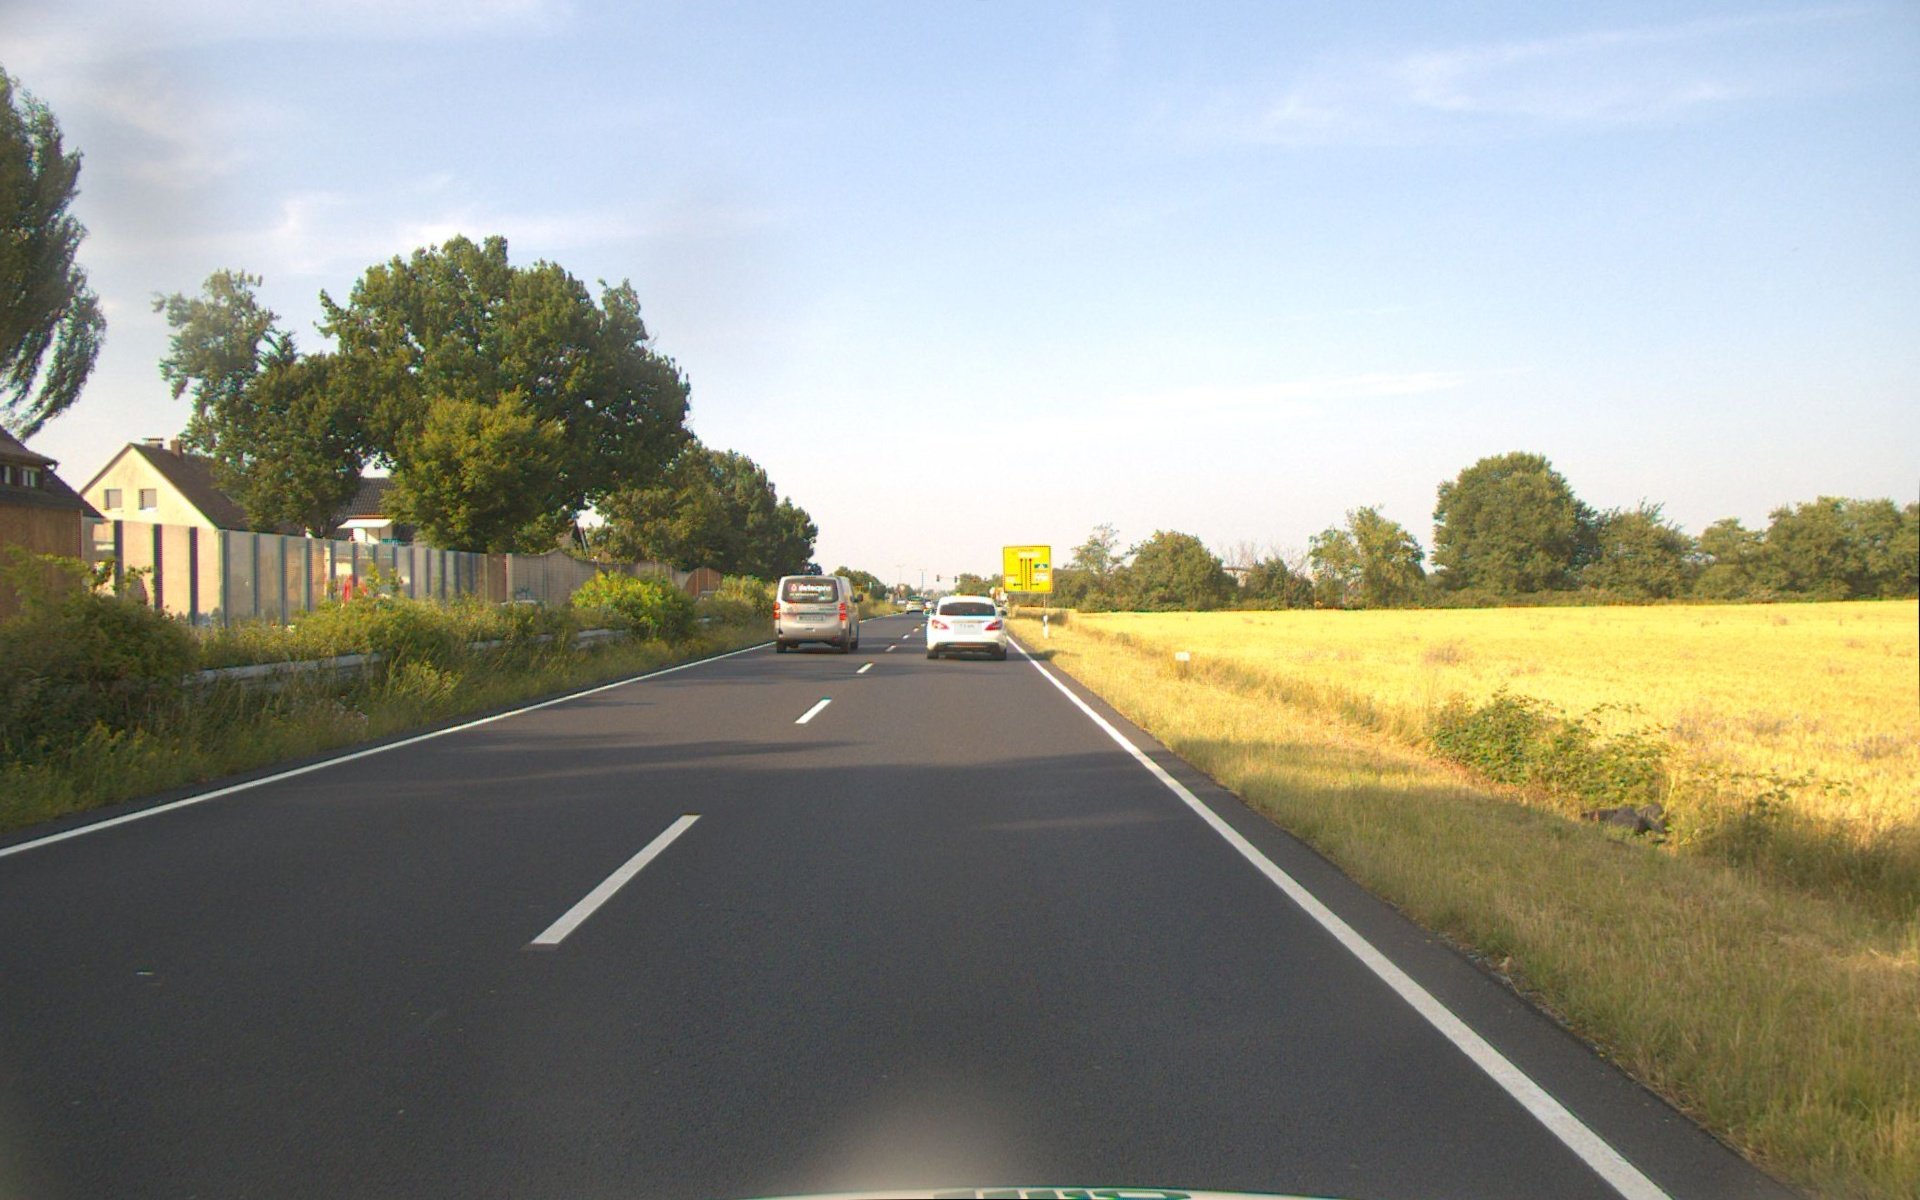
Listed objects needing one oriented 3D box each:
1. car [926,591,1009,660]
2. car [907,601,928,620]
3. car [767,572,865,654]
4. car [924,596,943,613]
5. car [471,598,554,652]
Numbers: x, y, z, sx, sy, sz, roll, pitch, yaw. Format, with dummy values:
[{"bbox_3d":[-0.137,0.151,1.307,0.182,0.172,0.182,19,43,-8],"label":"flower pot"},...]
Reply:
[{"bbox_3d":[0.154,0.581,38.846,1.856,1.535,3.999,0,0,-1],"label":"car"},{"bbox_3d":[-3.621,0.881,140.819,1.682,1.518,3.584,1,0,0],"label":"car"},{"bbox_3d":[-3.580,0.309,42.006,1.984,1.925,4.958,1,0,0],"label":"car"},{"bbox_3d":[-2.728,0.460,169.435,1.839,1.680,3.663,1,0,-2],"label":"car"},{"bbox_3d":[-14.530,0.794,53.865,1.770,1.691,3.335,1,0,0],"label":"car"}]
